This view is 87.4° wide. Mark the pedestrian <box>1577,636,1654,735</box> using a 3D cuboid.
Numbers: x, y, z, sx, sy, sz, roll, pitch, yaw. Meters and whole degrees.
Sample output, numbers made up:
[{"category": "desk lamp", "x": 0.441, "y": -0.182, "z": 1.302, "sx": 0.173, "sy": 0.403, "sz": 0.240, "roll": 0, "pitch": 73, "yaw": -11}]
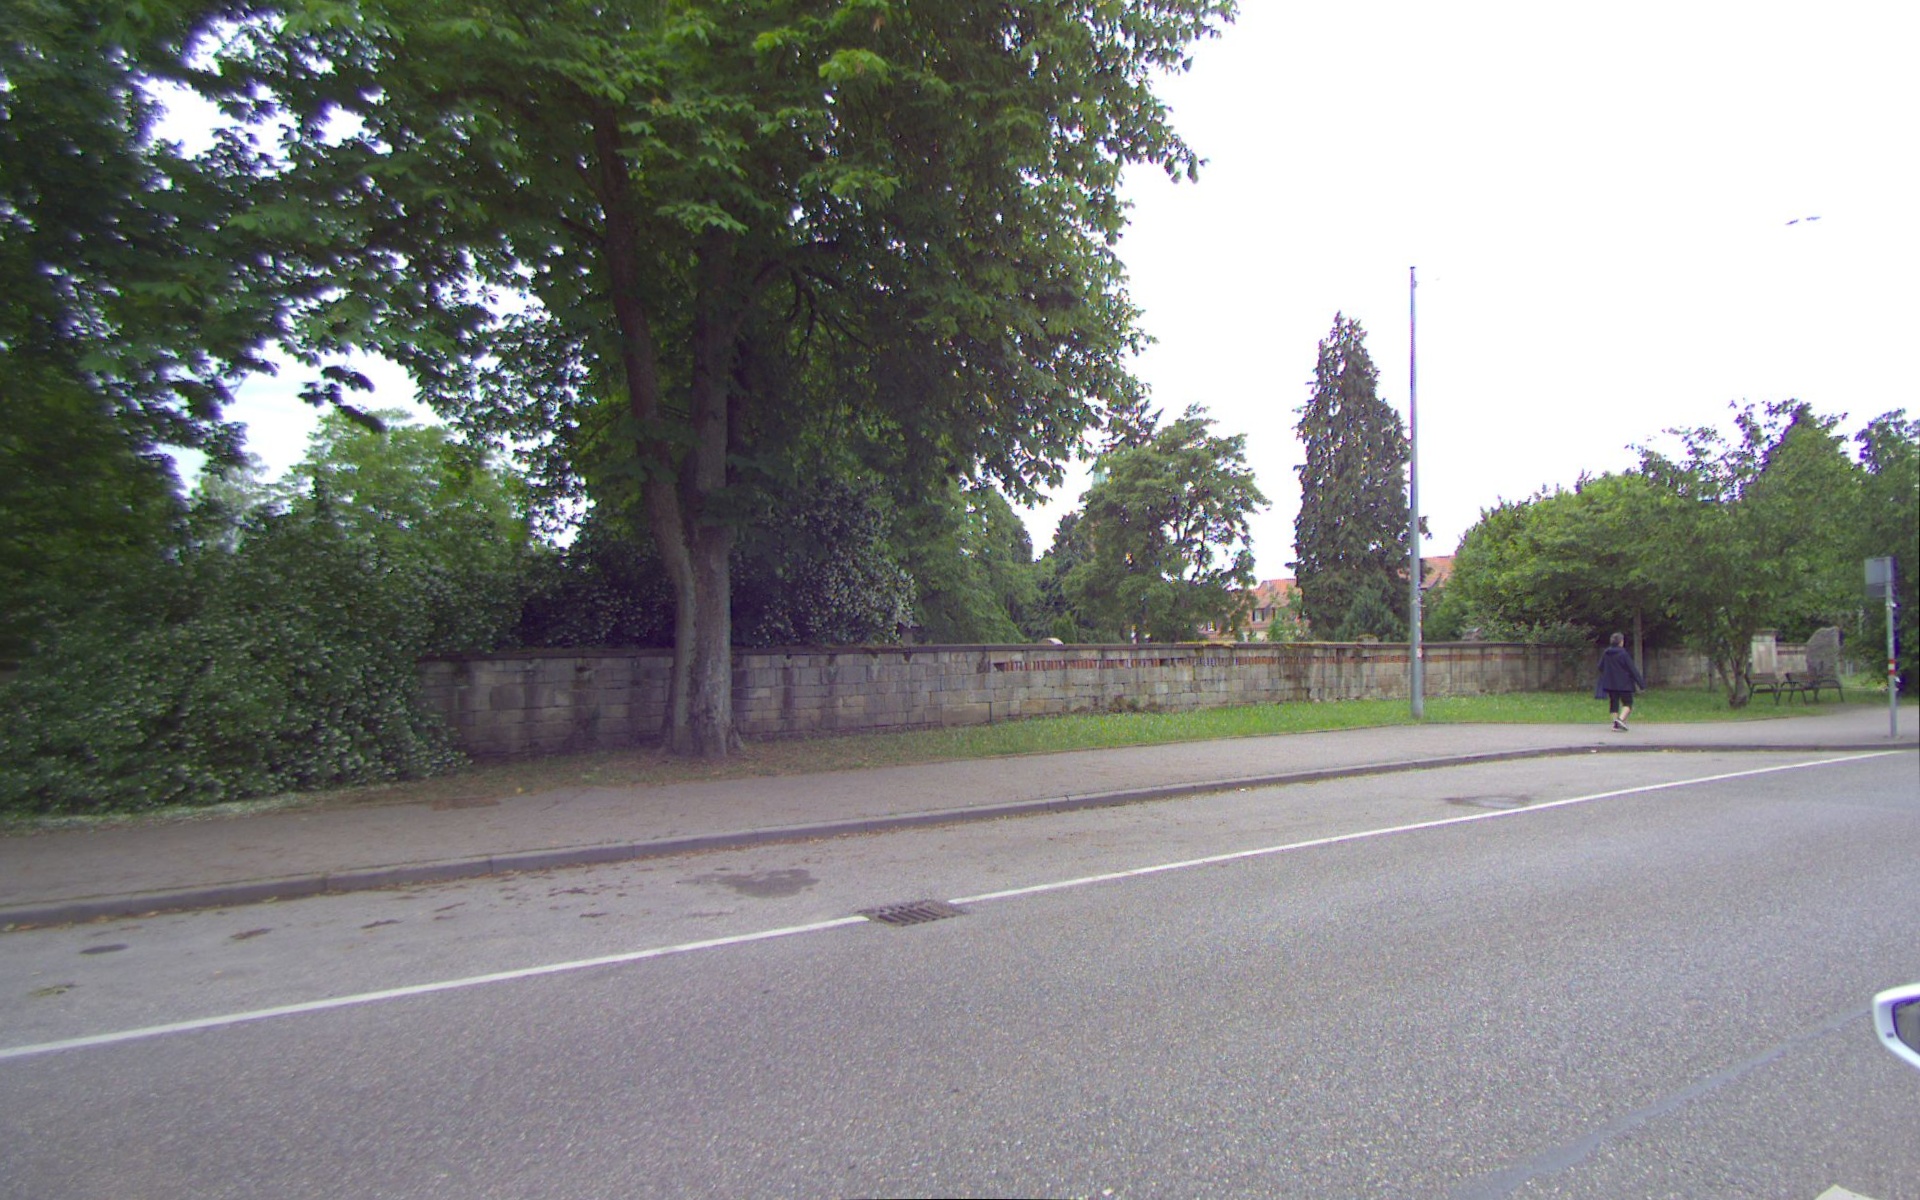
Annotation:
[{"category": "pedestrian", "x": 11.080, "y": 1.415, "z": 16.976, "sx": 0.955, "sy": 1.599, "sz": 0.745, "roll": 1, "pitch": -1, "yaw": -30}]
